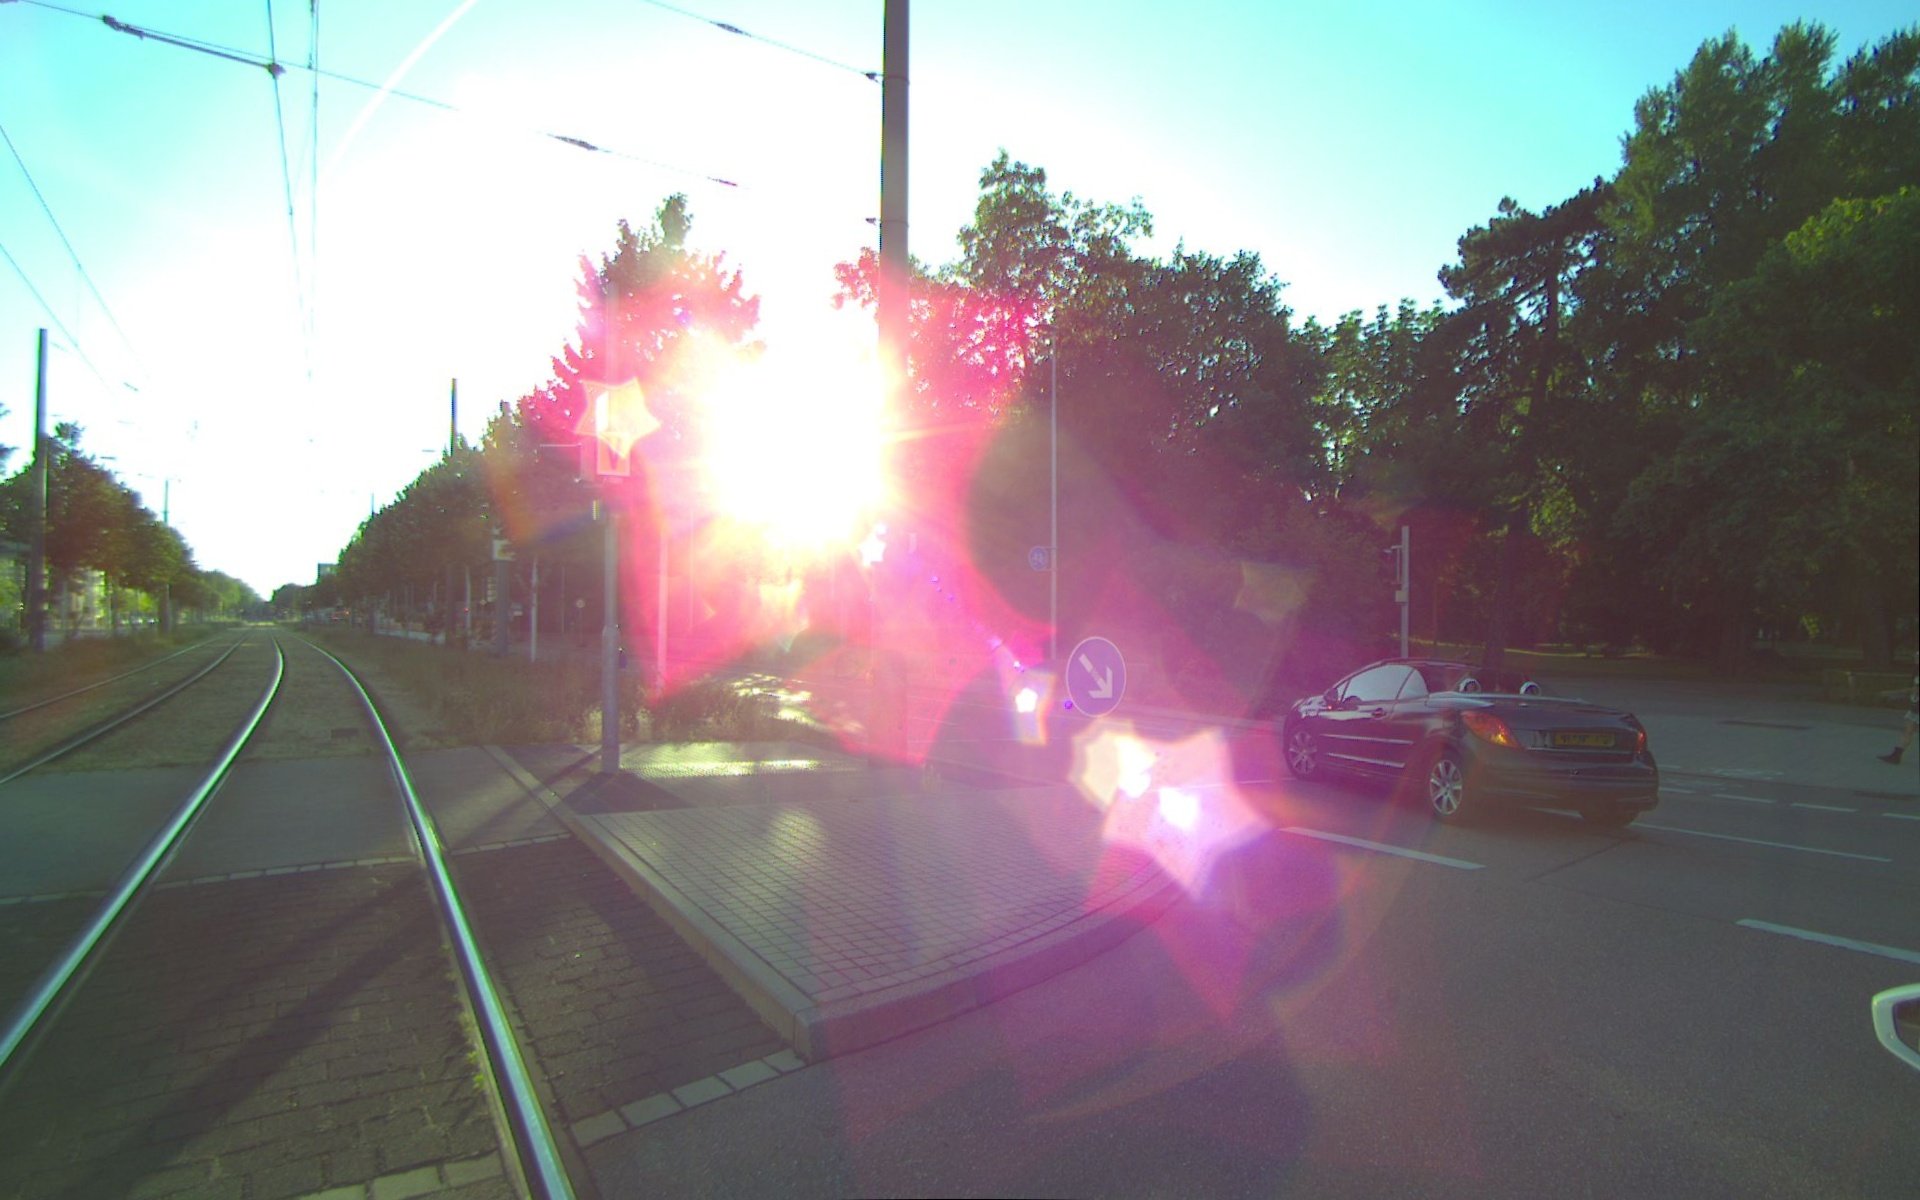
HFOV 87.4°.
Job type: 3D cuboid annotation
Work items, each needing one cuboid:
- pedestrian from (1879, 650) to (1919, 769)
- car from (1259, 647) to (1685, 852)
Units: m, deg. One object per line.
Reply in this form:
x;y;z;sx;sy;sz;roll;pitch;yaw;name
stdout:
12.575;1.424;13.187;0.573;1.524;0.614;1;-1;-29;pedestrian
4.570;1.237;9.705;1.693;1.469;3.895;1;-1;-10;car
